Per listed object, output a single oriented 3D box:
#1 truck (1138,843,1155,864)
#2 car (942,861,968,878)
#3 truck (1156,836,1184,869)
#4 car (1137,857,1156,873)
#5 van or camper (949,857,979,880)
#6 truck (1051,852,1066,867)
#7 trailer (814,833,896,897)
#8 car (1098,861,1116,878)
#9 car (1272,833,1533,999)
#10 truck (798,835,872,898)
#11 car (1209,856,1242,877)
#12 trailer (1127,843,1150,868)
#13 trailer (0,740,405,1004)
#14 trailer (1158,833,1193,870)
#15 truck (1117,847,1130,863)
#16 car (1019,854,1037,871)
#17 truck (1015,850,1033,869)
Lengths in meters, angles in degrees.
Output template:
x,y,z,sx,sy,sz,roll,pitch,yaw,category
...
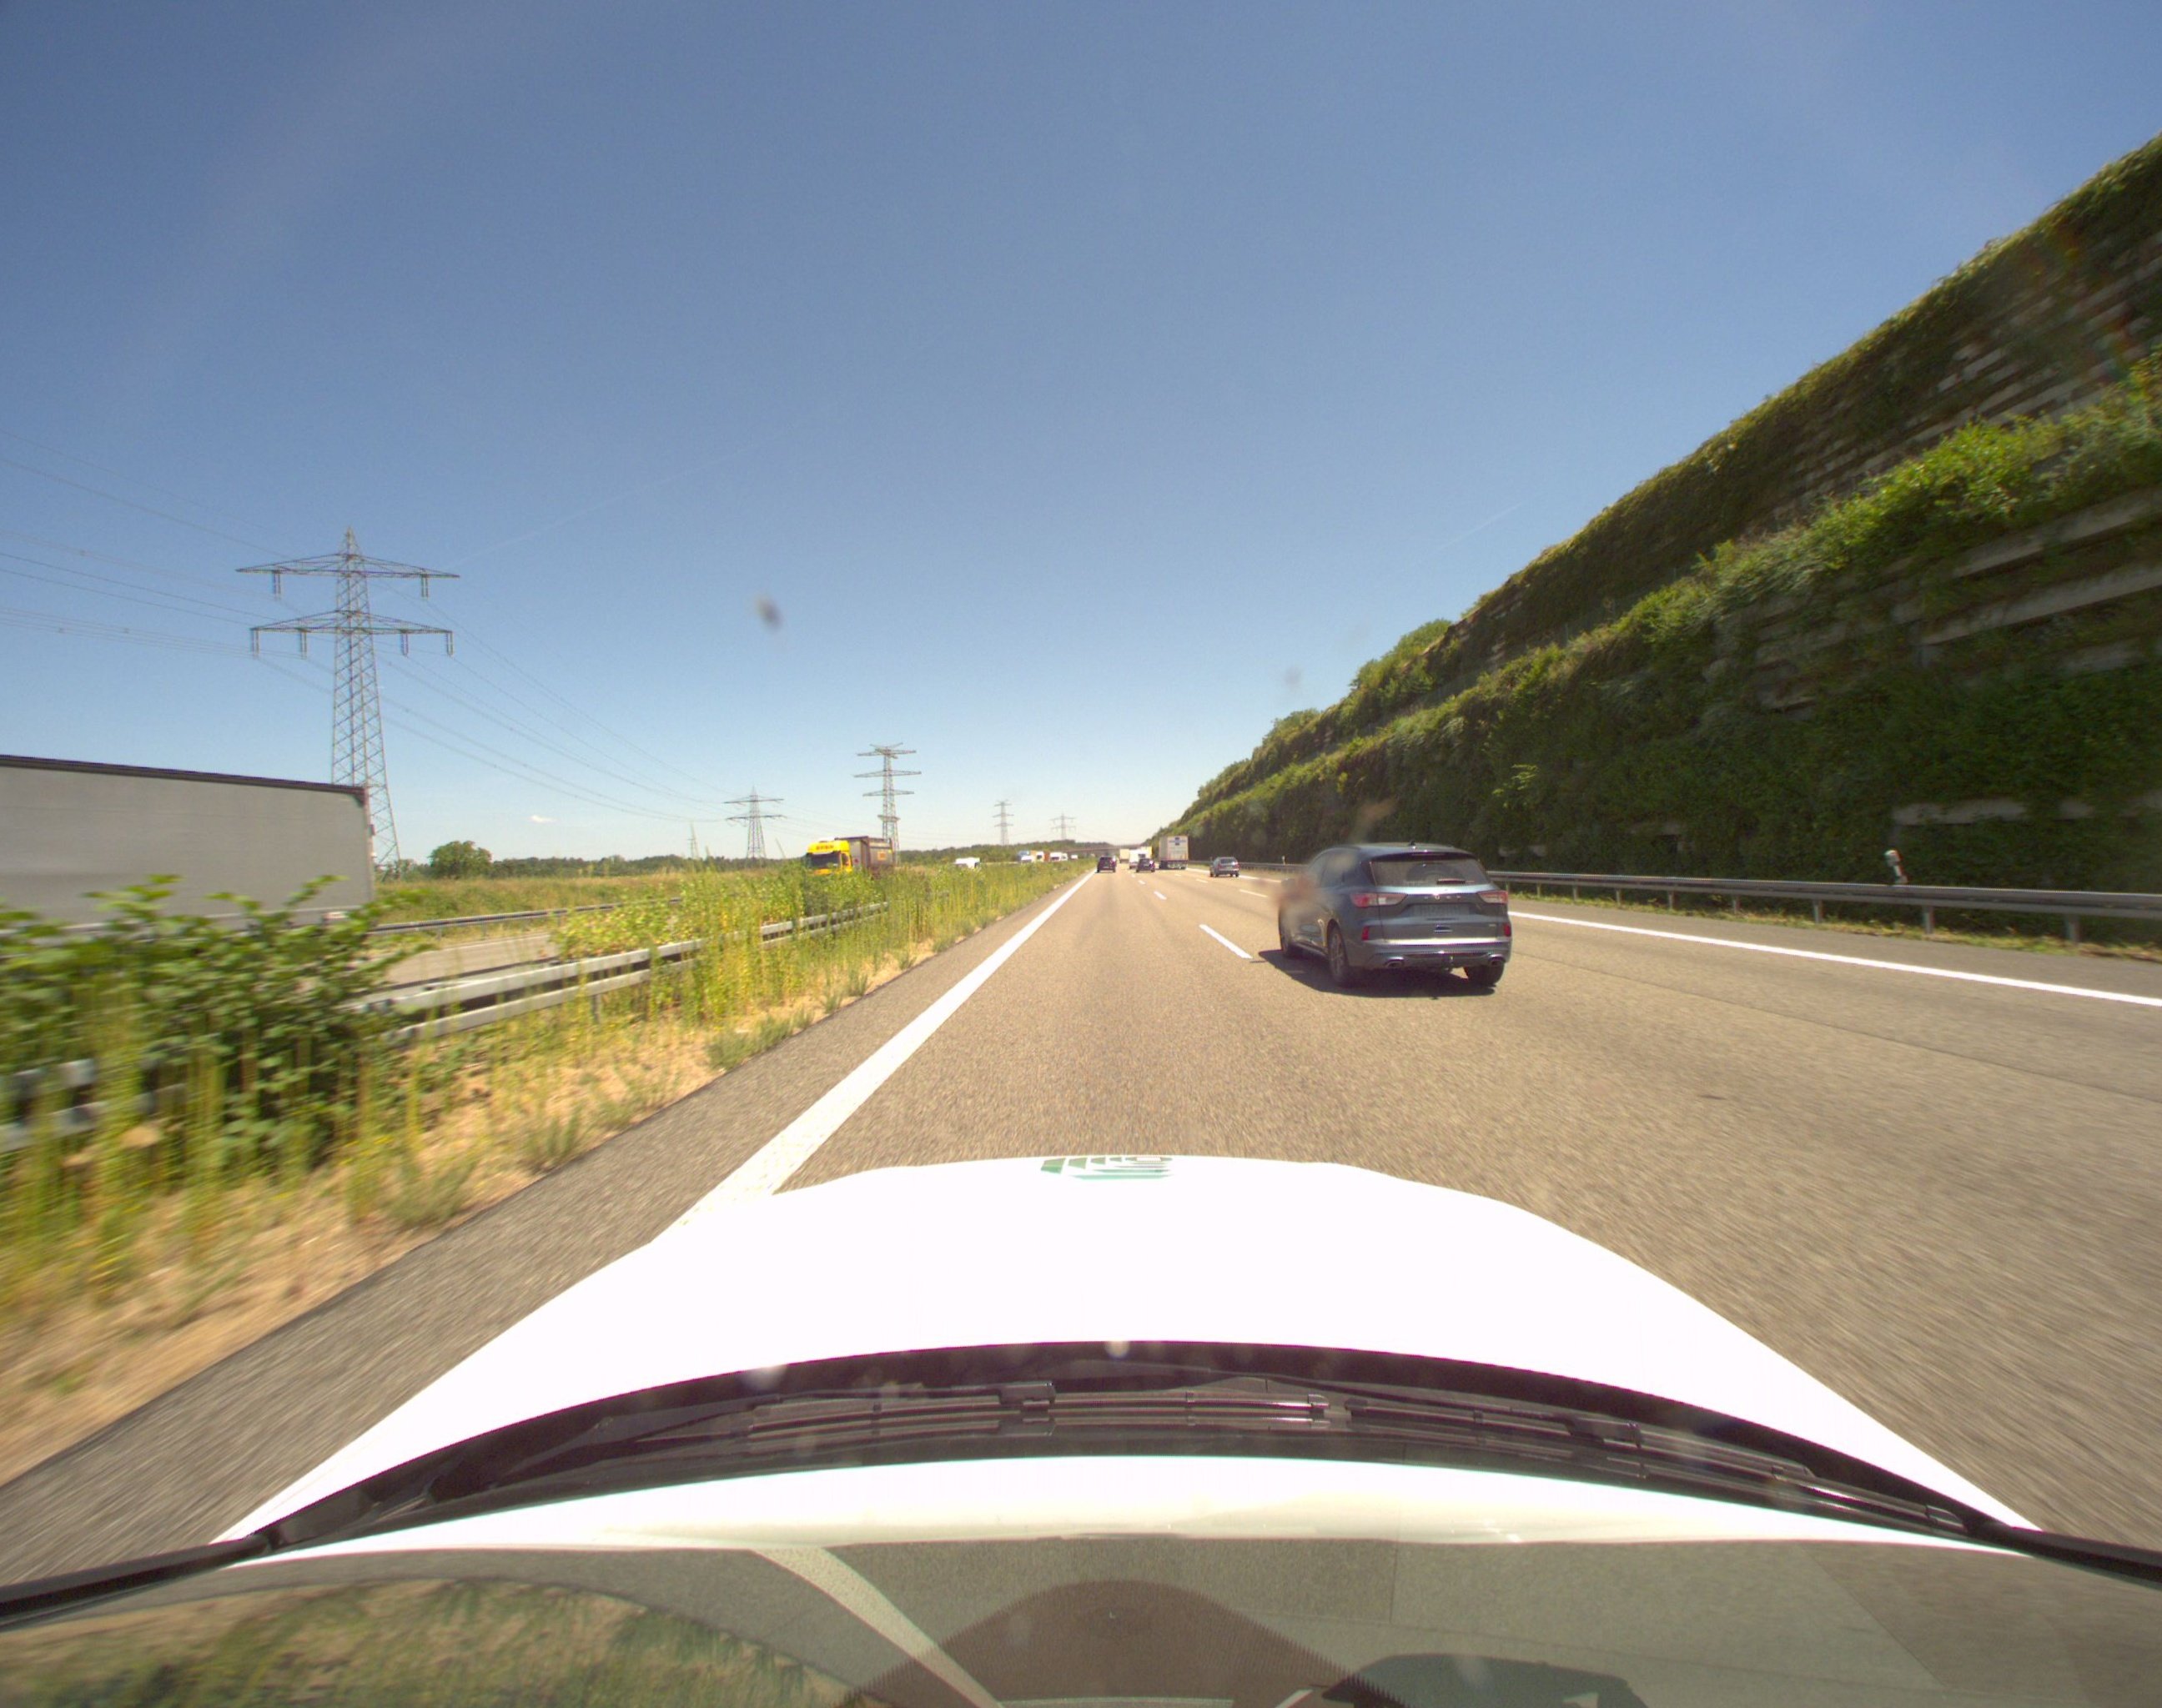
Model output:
x,y,z,sx,sy,sz,roll,pitch,yaw,category
14.448,-0.084,181.569,3.107,4.280,11.939,-2,0,2,truck
-14.470,1.761,93.632,2.039,1.854,4.871,-3,0,1,car
11.798,-0.182,108.577,3.124,4.141,5.506,-2,0,2,truck
6.708,1.086,83.713,1.822,1.525,4.002,-3,0,2,car
-14.290,1.735,100.114,2.434,2.518,6.486,-3,0,2,van or camper
-5.539,1.391,200.966,2.926,3.413,9.368,-3,0,1,truck
-15.691,0.721,57.466,2.726,4.045,9.427,-3,0,2,trailer
2.792,1.596,86.908,1.823,1.670,4.001,-3,0,1,car
3.779,0.641,10.430,1.787,1.653,4.139,-2,0,2,car
-15.778,0.792,52.632,2.715,3.727,5.648,-3,0,1,truck
10.441,0.862,59.285,1.678,1.428,4.454,-1,0,1,car
7.767,0.214,110.697,2.601,3.213,9.955,-1,0,1,trailer
-17.058,0.283,11.453,2.759,3.829,14.246,-1,0,2,trailer
11.631,-0.260,101.650,3.171,4.121,13.437,-2,0,2,trailer
12.112,0.269,231.855,3.396,4.280,10.612,-2,0,2,truck
-8.756,1.431,135.549,2.097,2.631,7.471,-4,0,2,car
-11.721,1.139,168.369,2.852,3.907,5.623,-3,0,2,truck
